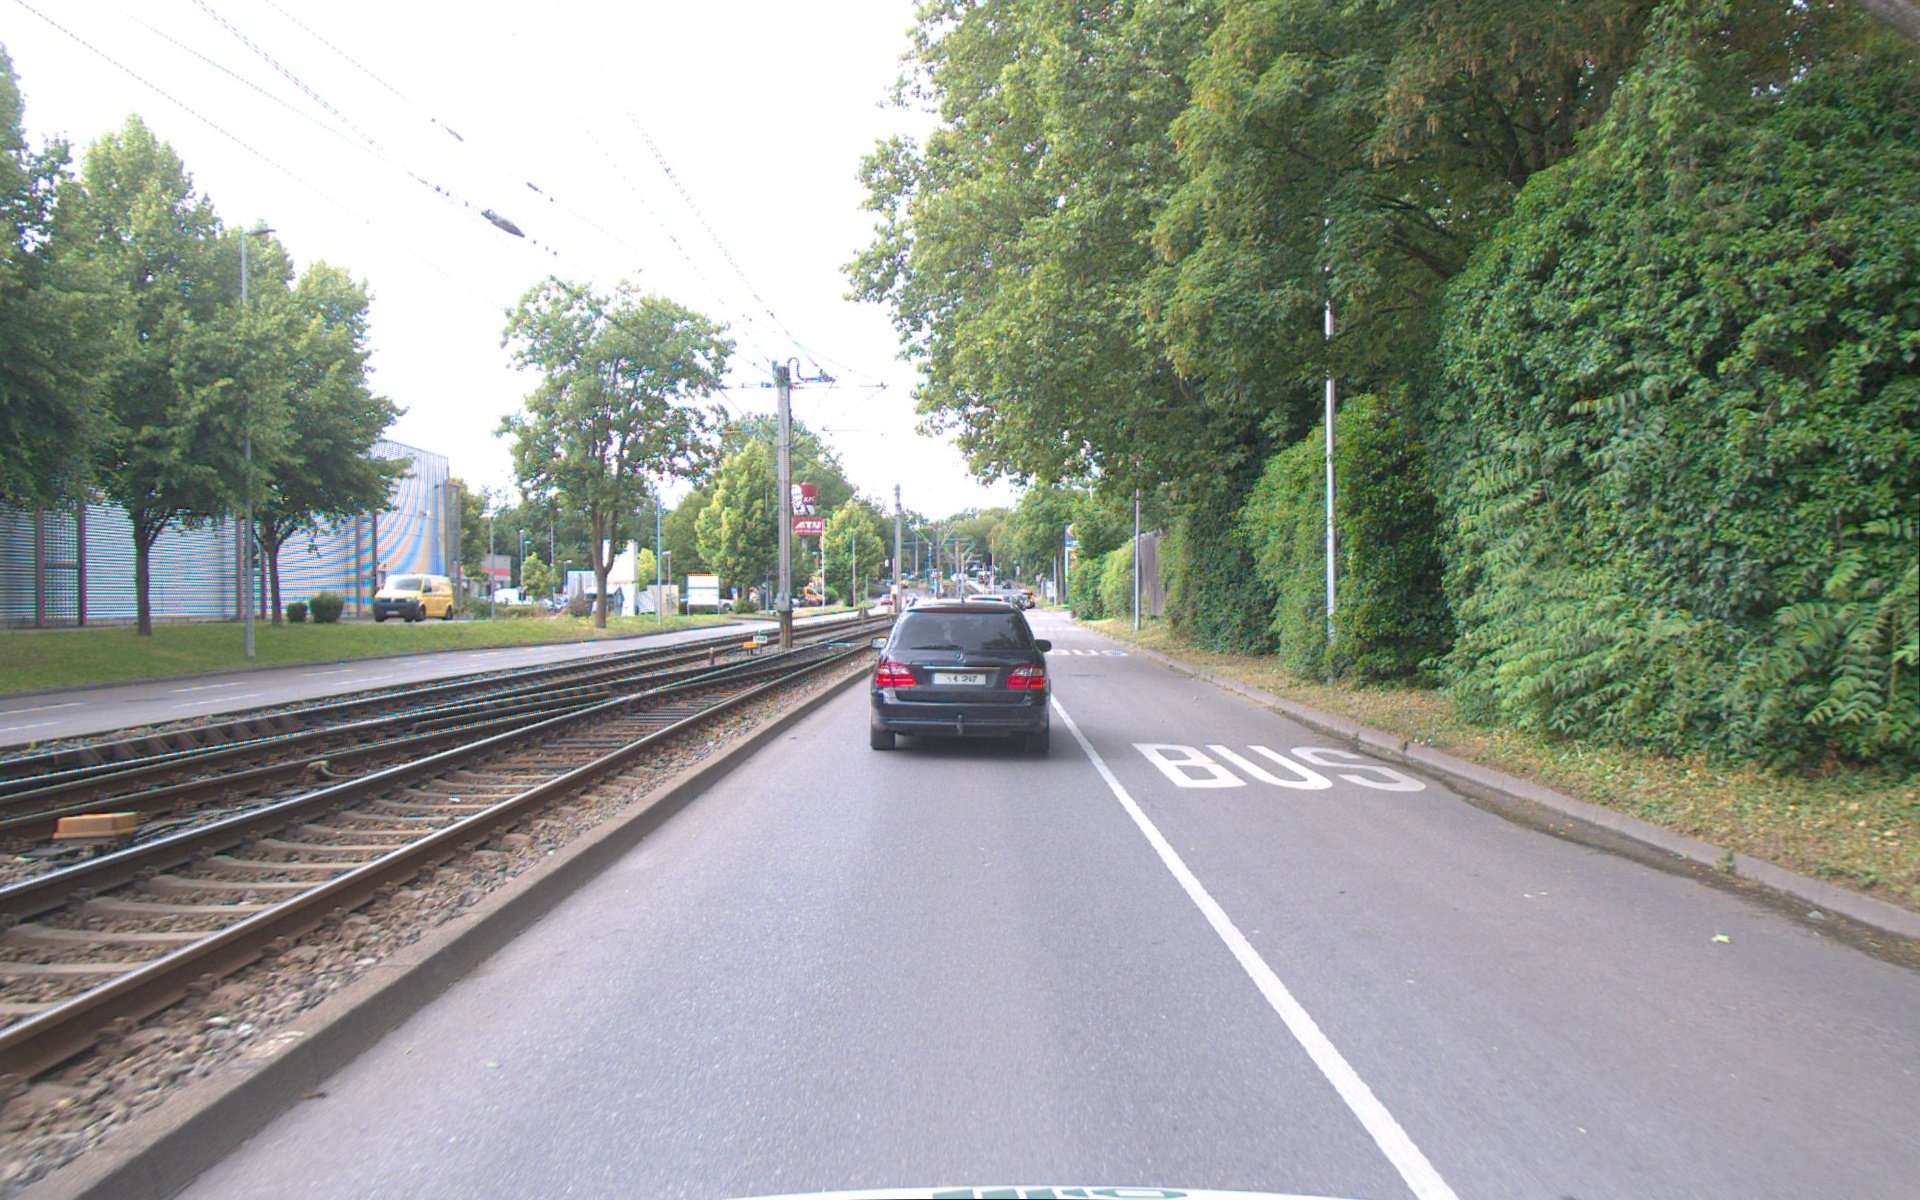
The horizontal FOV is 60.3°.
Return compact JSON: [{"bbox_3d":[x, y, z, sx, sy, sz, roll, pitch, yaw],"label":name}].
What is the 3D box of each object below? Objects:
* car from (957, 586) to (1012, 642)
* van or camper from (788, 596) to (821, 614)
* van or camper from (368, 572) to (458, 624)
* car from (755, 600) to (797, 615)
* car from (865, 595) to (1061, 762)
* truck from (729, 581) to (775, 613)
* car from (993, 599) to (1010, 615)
[{"bbox_3d":[0.862,0.487,55.735,1.743,1.781,3.718,1,-1,2],"label":"car"},{"bbox_3d":[-18.739,0.613,199.291,3.907,2.172,1.877,1,0,-3],"label":"van or camper"},{"bbox_3d":[-22.338,-0.079,67.704,2.061,2.049,5.241,0,0,-2],"label":"van or camper"},{"bbox_3d":[-19.235,0.798,172.848,4.219,1.497,1.680,0,0,-1],"label":"car"},{"bbox_3d":[0.084,0.714,17.007,1.771,1.500,3.881,1,0,2],"label":"car"},{"bbox_3d":[-18.868,-0.266,150.284,3.906,2.871,2.376,-1,0,-1],"label":"truck"},{"bbox_3d":[3.764,0.631,149.981,1.538,1.439,3.355,1,-1,2],"label":"car"}]
